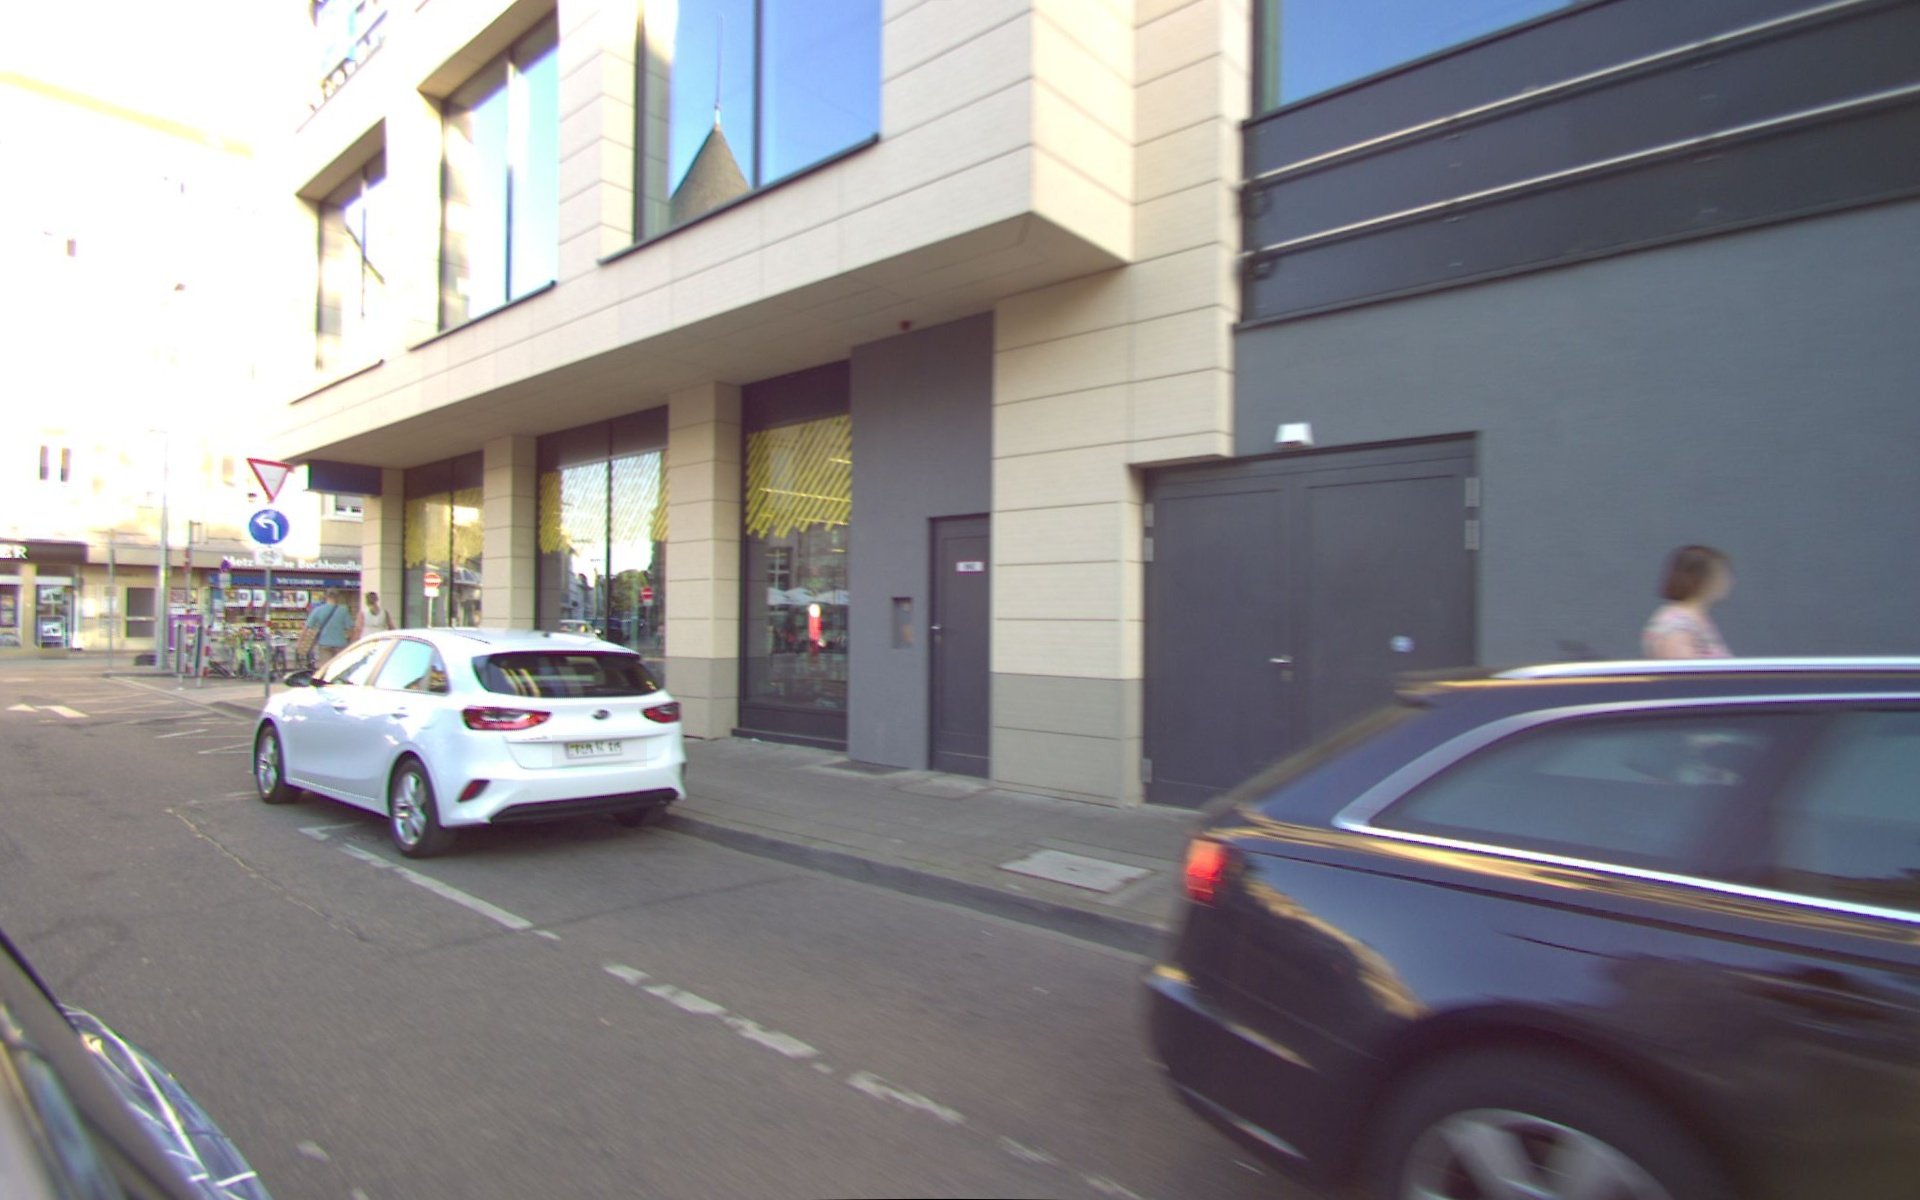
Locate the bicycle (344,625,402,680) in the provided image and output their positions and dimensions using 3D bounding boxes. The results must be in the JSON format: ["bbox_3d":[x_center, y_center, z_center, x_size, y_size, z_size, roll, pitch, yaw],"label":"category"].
[{"bbox_3d":[-14.247,1.249,24.534,1.976,1.264,0.507,0,-1,39],"label":"bicycle"}]

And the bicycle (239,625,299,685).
[{"bbox_3d":[-15.681,1.222,22.944,1.976,1.264,0.507,0,-1,38],"label":"bicycle"}]

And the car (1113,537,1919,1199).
[{"bbox_3d":[2.713,0.720,1.577,4.690,1.610,1.863,-1,-2,43],"label":"car"}]

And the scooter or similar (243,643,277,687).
[{"bbox_3d":[-14.893,1.374,21.531,0.769,0.891,0.383,0,-1,40],"label":"scooter or similar"}]

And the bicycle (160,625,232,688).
[{"bbox_3d":[-16.461,1.189,21.787,2.137,1.264,0.657,0,-1,37],"label":"bicycle"}]

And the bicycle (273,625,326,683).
[{"bbox_3d":[-15.306,1.218,23.434,1.978,1.264,0.506,0,-1,42],"label":"bicycle"}]

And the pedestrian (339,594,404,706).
[{"bbox_3d":[-9.144,0.766,15.721,0.646,1.687,0.665,-1,-2,38],"label":"pedestrian"}]

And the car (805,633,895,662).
[{"bbox_3d":[-5.495,2.359,51.043,1.861,1.402,4.564,-1,-2,37],"label":"car"}]

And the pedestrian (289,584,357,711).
[{"bbox_3d":[-9.568,0.696,15.197,0.646,1.850,0.665,-1,-2,38],"label":"pedestrian"}]

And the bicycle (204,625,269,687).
[{"bbox_3d":[-16.032,1.215,22.416,2.041,1.264,0.575,0,-1,38],"label":"bicycle"}]

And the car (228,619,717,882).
[{"bbox_3d":[-3.873,0.886,7.717,4.227,1.464,1.759,-1,-2,40],"label":"car"}]

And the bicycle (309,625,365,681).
[{"bbox_3d":[-14.763,1.232,23.953,1.977,1.264,0.506,0,-1,40],"label":"bicycle"}]

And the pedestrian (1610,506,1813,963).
[{"bbox_3d":[3.248,0.526,4.372,0.647,1.758,0.665,-1,-2,41],"label":"pedestrian"}]

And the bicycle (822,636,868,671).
[{"bbox_3d":[-4.373,2.005,38.518,0.513,1.264,1.953,0,-1,38],"label":"bicycle"}]
